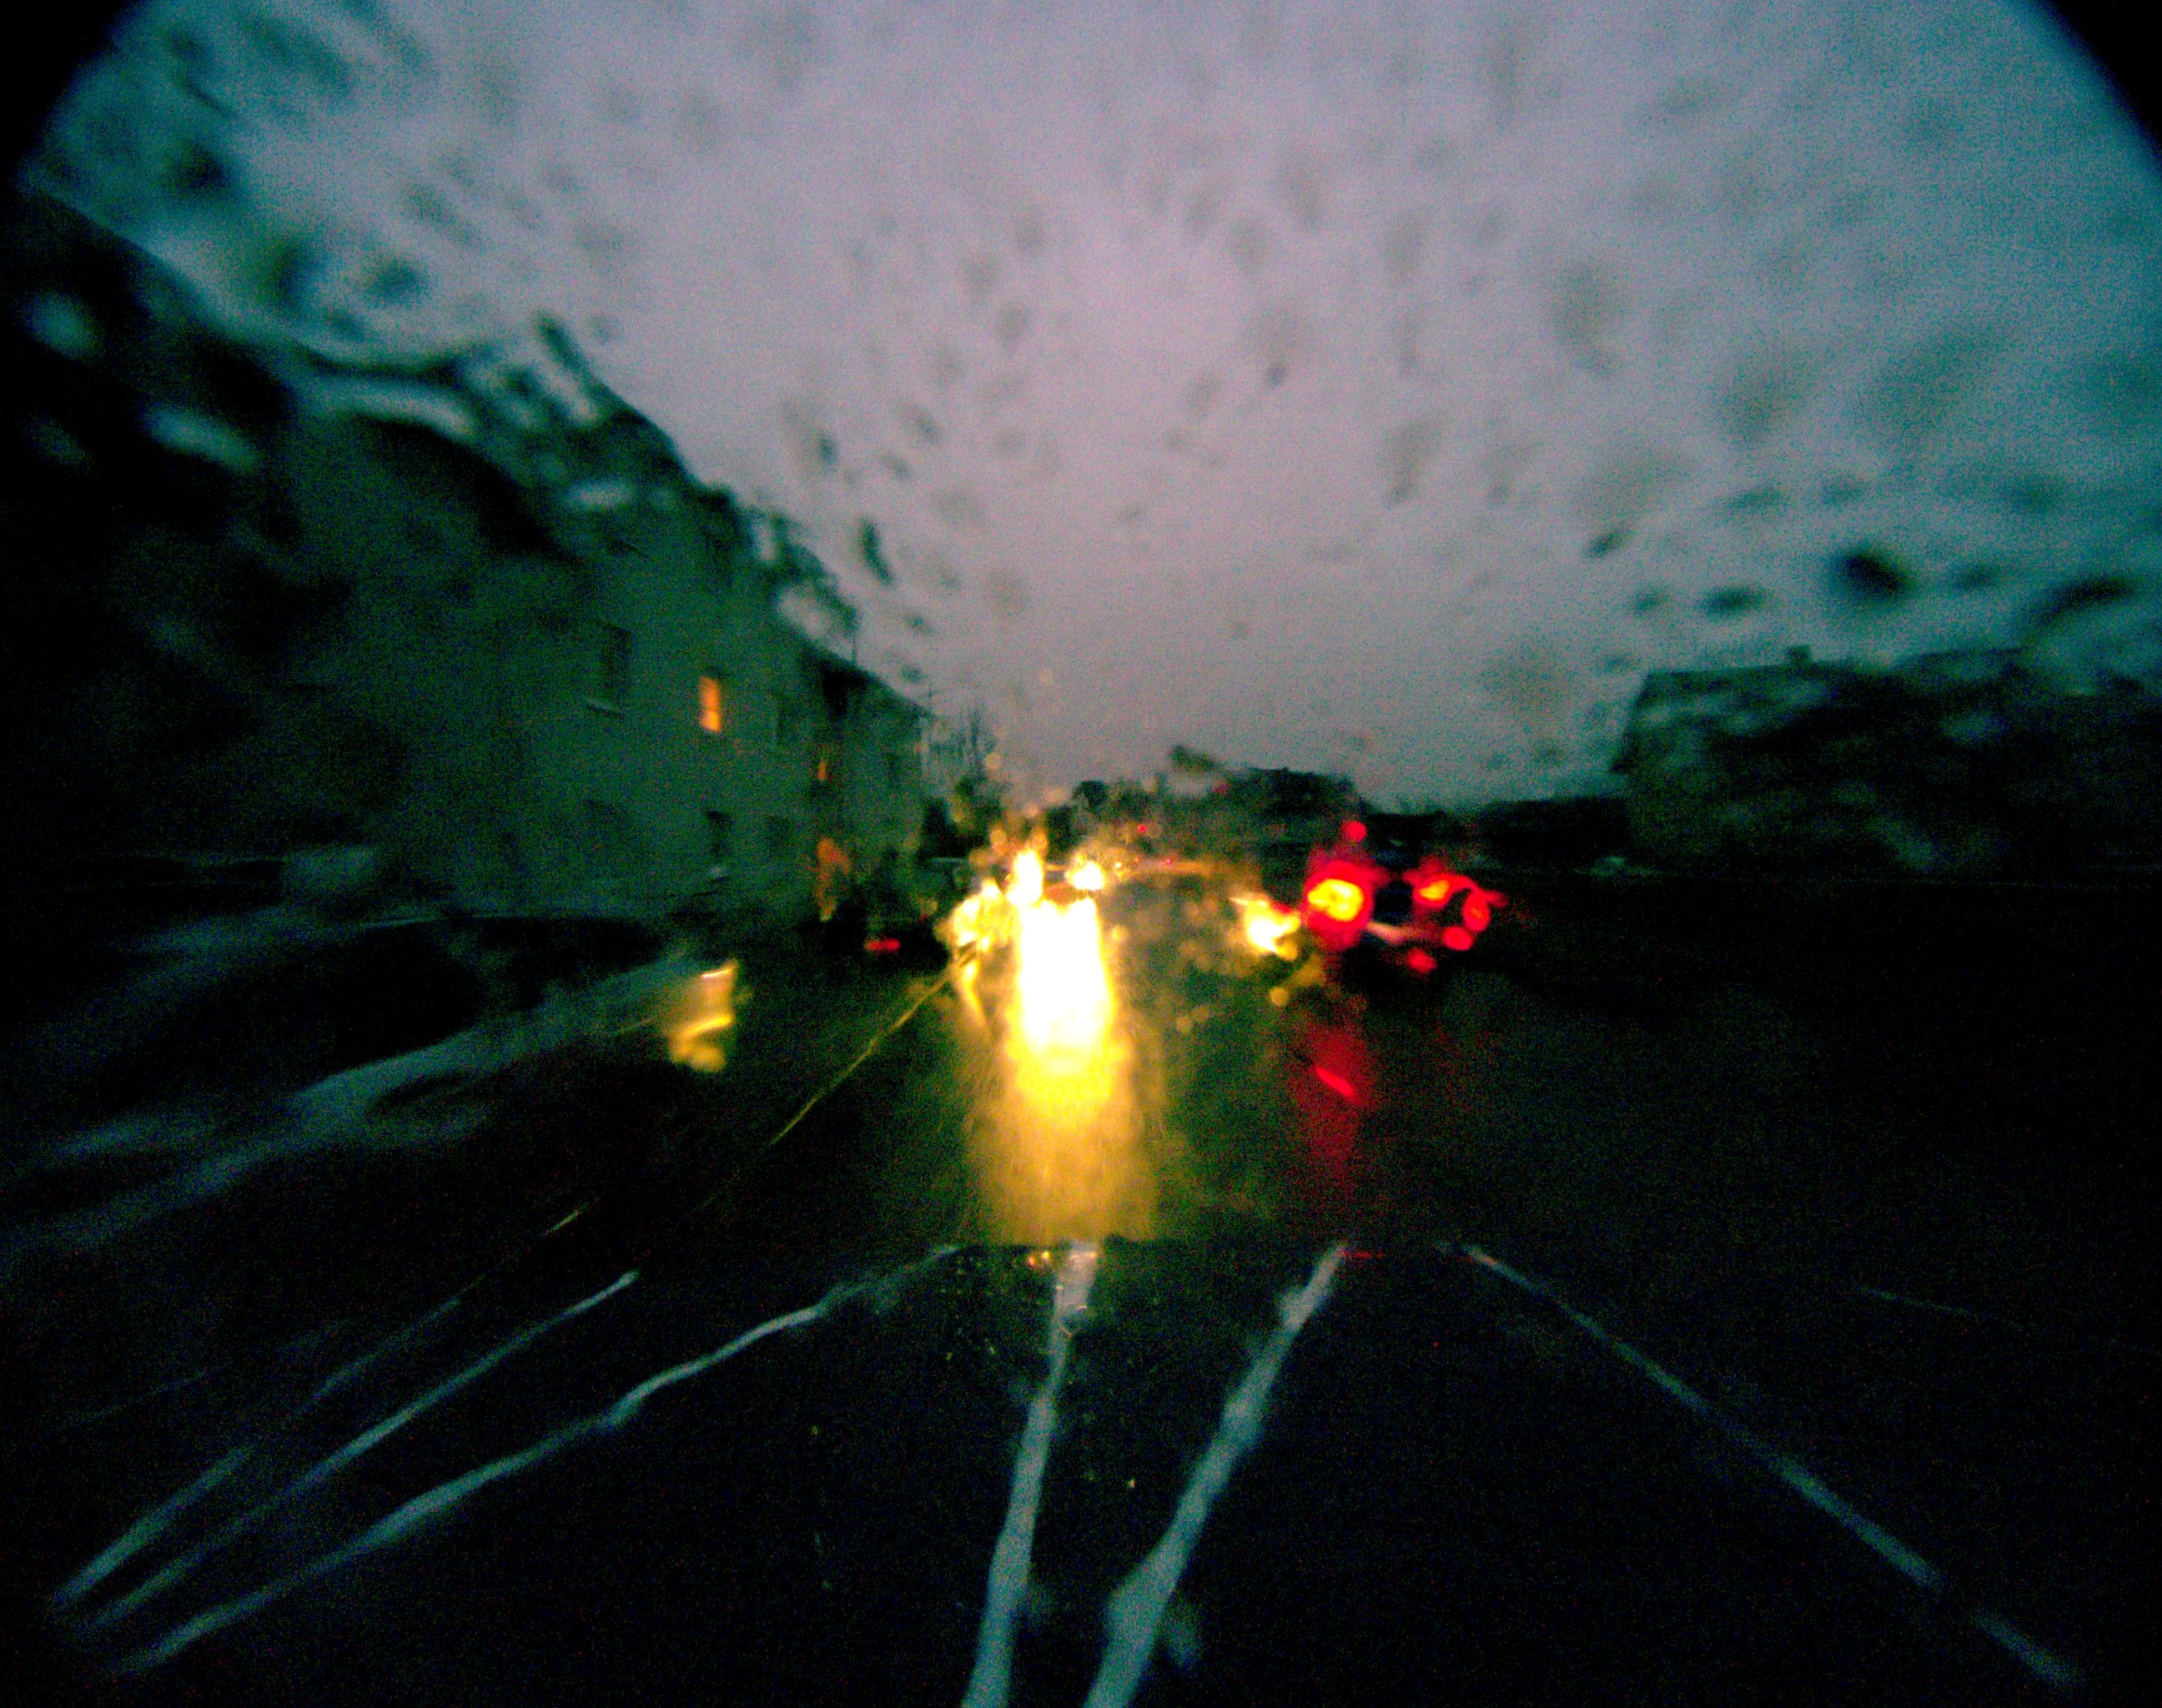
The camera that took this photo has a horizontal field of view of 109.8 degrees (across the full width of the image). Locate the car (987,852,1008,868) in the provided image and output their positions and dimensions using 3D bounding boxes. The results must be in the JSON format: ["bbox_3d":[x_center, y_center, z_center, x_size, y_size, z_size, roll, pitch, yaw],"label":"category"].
[{"bbox_3d":[-9.155,0.647,82.785,1.917,1.780,4.562,0,0,-10],"label":"car"}]

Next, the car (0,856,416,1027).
[{"bbox_3d":[-10.109,0.850,8.432,4.015,1.592,1.805,1,0,5],"label":"car"}]

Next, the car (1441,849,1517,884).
[{"bbox_3d":[23.680,0.693,45.406,1.999,1.893,4.356,-3,0,-4],"label":"car"}]

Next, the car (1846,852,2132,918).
[{"bbox_3d":[22.542,0.691,19.235,1.881,1.434,4.649,-1,0,4],"label":"car"}]

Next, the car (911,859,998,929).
[{"bbox_3d":[-3.147,0.936,19.701,1.669,1.566,4.495,0,0,-2],"label":"car"}]

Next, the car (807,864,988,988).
[{"bbox_3d":[-2.803,1.016,12.845,1.962,1.523,5.008,-3,0,-2],"label":"car"}]

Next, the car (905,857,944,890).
[{"bbox_3d":[-7.809,0.928,38.090,1.813,1.543,4.300,0,0,-11],"label":"car"}]

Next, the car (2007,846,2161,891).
[{"bbox_3d":[39.093,0.541,29.183,3.991,1.535,2.003,-2,0,19],"label":"car"}]

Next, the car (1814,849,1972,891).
[{"bbox_3d":[33.341,0.639,31.345,4.032,1.515,1.816,-3,0,20],"label":"car"}]

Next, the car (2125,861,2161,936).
[{"bbox_3d":[22.565,0.894,13.711,1.881,1.496,4.144,-1,0,3],"label":"car"}]

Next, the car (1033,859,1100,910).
[{"bbox_3d":[-0.583,0.990,25.919,1.999,1.525,3.999,-2,-1,-4],"label":"car"}]

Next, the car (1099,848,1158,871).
[{"bbox_3d":[3.791,0.450,61.148,4.346,1.611,1.998,-3,1,-9],"label":"car"}]

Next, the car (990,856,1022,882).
[{"bbox_3d":[-4.687,0.891,47.716,1.812,1.555,4.303,0,0,-3],"label":"car"}]

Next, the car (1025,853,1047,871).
[{"bbox_3d":[-4.144,0.703,70.427,1.906,1.630,4.565,1,0,-2],"label":"car"}]

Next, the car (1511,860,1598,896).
[{"bbox_3d":[23.315,1.149,37.626,1.901,1.509,4.000,-3,1,3],"label":"car"}]

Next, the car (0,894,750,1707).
[{"bbox_3d":[-2.712,0.977,2.158,1.656,1.446,4.238,2,0,0],"label":"car"}]

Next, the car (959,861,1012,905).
[{"bbox_3d":[-3.439,1.006,27.887,1.708,1.443,4.190,0,0,-4],"label":"car"}]

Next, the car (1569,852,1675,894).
[{"bbox_3d":[23.326,0.795,32.940,1.821,1.615,3.986,-3,0,3],"label":"car"}]

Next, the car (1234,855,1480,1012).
[{"bbox_3d":[3.236,0.825,9.741,1.736,1.527,3.781,-3,0,0],"label":"car"}]

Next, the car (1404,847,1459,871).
[{"bbox_3d":[23.383,0.308,50.838,1.681,1.406,3.832,-3,1,-2],"label":"car"}]
